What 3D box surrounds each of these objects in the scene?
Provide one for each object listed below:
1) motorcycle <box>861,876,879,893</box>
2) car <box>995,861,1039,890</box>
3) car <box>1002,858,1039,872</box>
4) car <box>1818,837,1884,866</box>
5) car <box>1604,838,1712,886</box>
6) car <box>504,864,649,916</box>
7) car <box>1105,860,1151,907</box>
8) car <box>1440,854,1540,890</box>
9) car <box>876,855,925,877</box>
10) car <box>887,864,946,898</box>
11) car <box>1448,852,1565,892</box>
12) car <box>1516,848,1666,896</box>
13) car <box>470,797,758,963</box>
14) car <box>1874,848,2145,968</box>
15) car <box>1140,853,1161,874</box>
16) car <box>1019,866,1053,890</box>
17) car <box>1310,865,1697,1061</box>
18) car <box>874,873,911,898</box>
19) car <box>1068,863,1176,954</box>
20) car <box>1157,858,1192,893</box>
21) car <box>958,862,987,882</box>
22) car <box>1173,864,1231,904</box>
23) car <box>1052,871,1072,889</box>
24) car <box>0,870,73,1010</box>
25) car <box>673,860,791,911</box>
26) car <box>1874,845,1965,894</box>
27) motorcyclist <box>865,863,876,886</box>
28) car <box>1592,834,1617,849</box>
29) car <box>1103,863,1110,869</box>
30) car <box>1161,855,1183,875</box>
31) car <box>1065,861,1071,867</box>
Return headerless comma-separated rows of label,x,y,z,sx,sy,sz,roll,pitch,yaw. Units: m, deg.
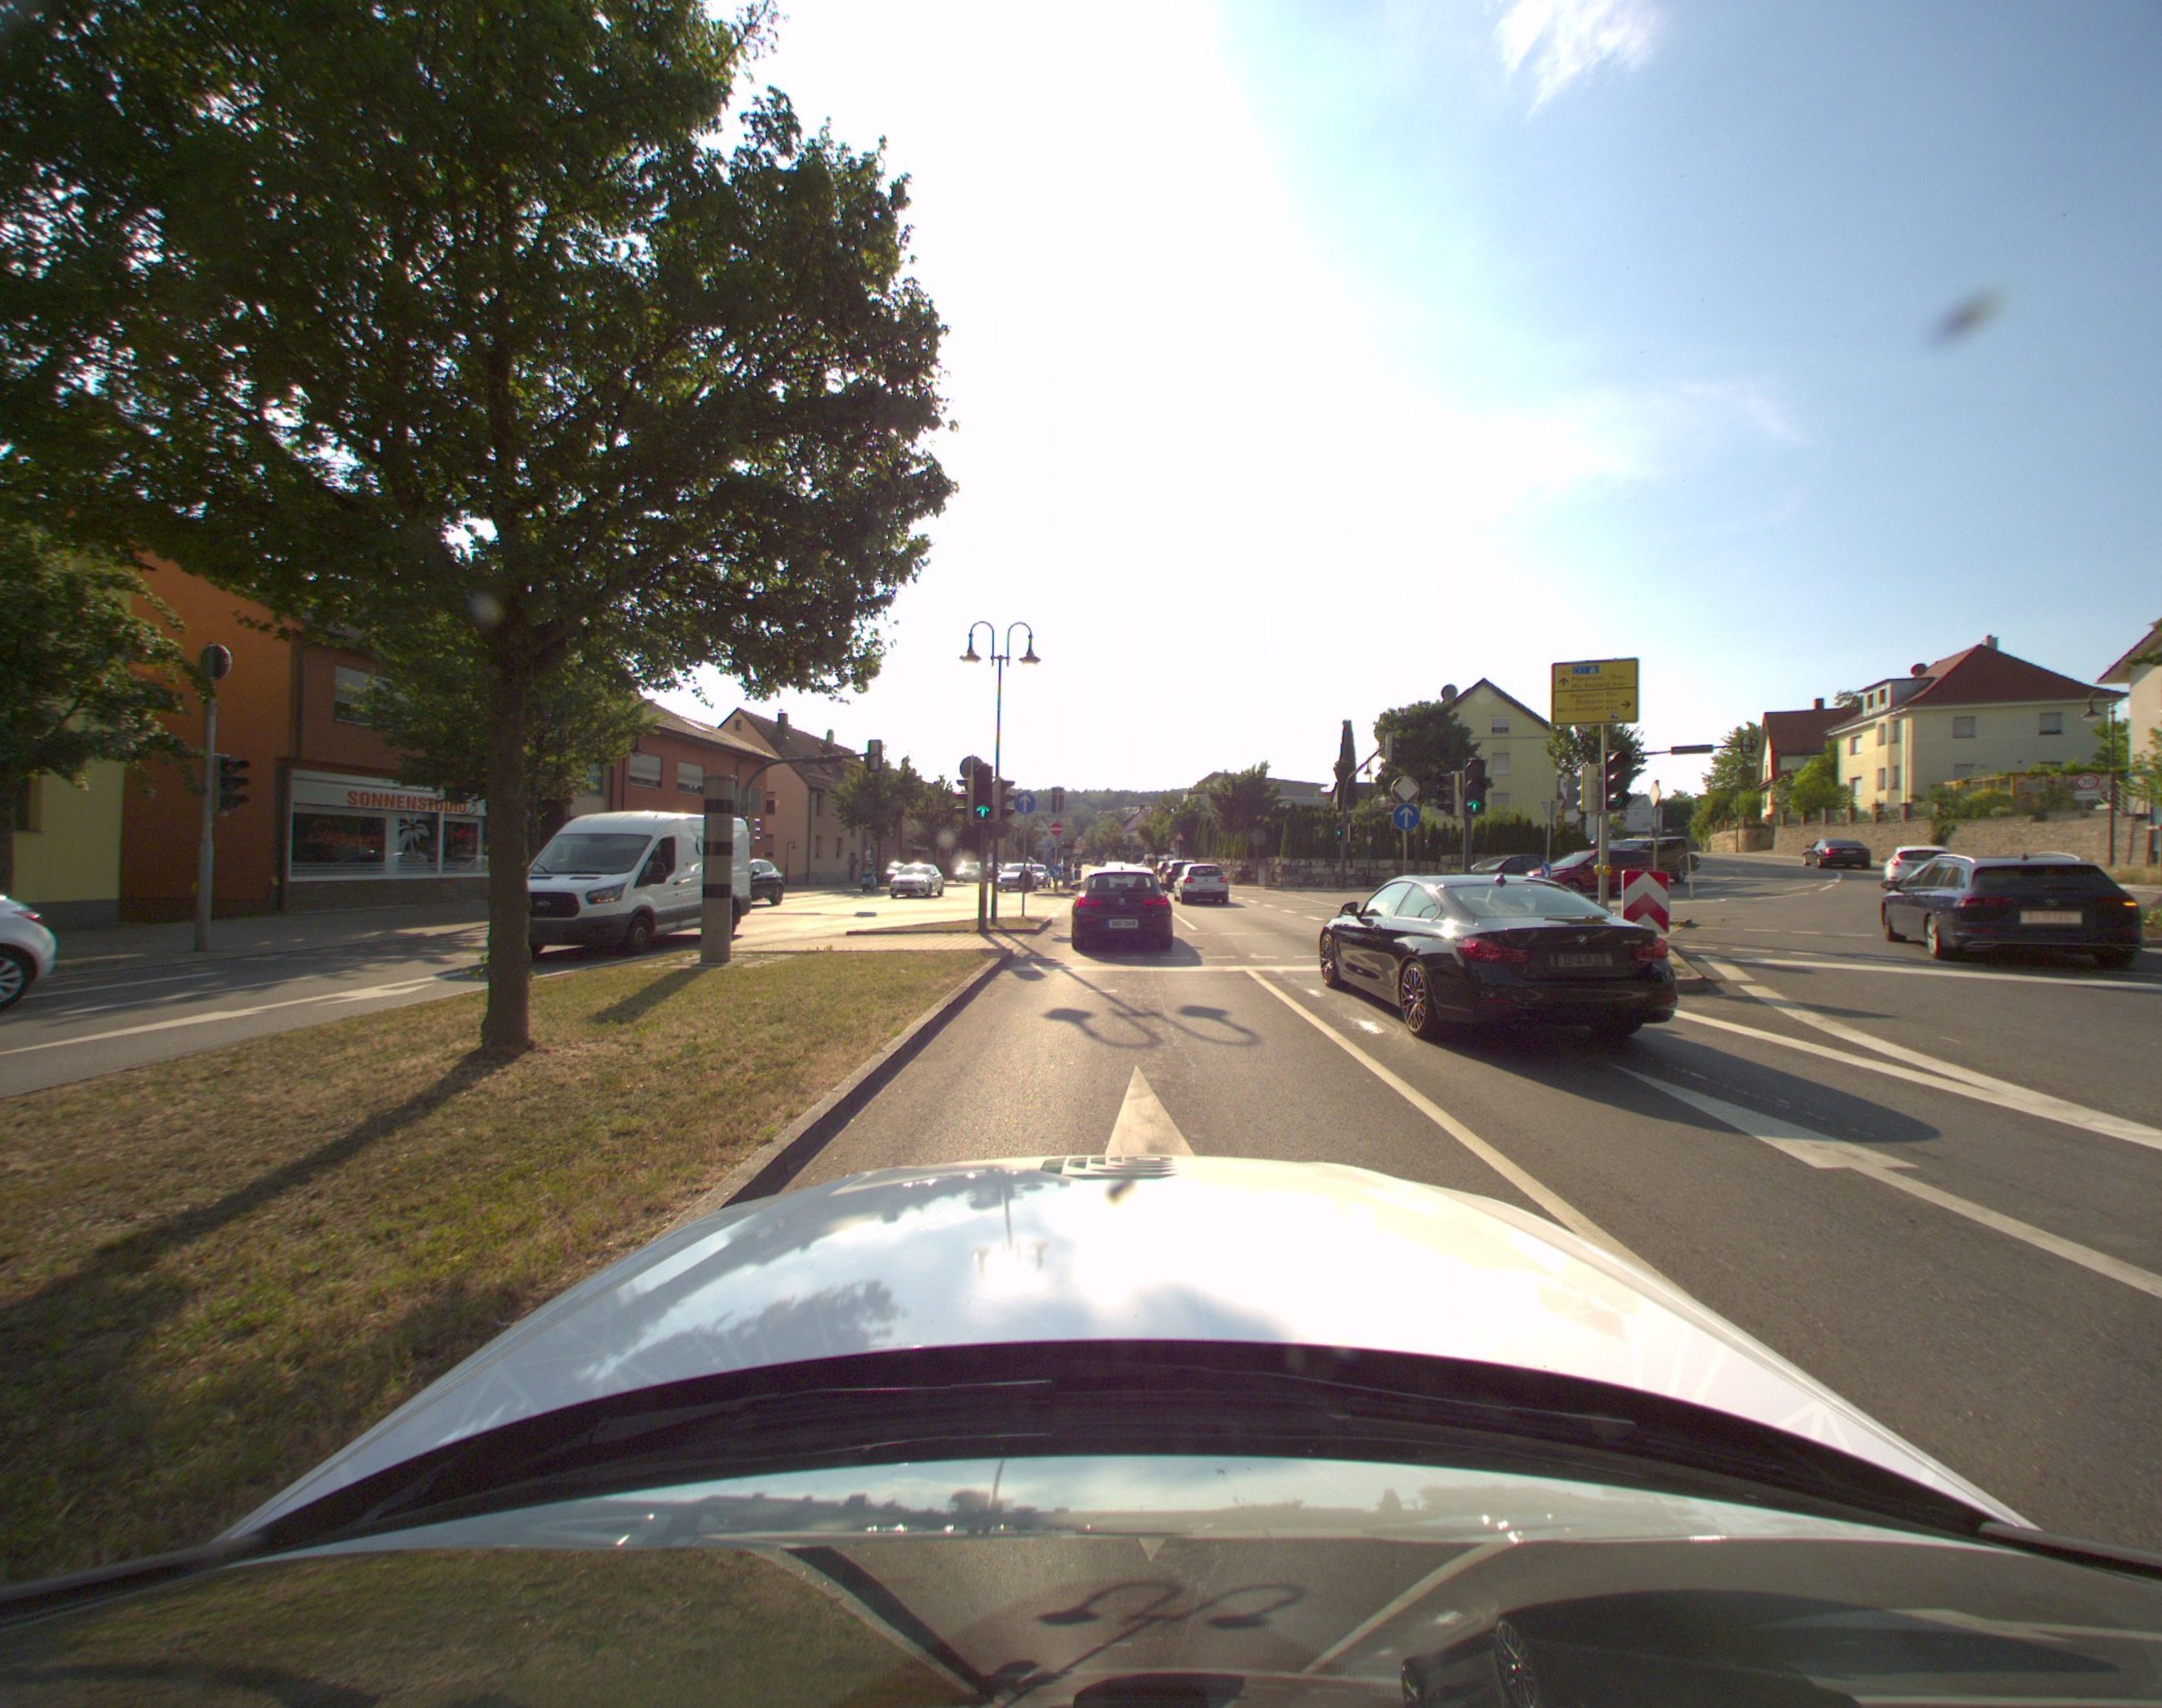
motorcycle,-11.050,1.585,42.668,0.410,0.860,1.765,0,0,3
car,-3.393,1.108,43.804,1.828,1.488,4.568,0,0,2
car,-10.501,1.880,141.303,6.138,2.445,2.249,1,0,0
car,37.467,-0.102,39.728,1.794,1.344,4.025,0,0,35
car,24.889,0.341,35.086,5.197,1.932,1.980,0,0,-32
car,-15.178,1.025,24.768,1.788,1.414,3.944,-1,0,3
car,1.769,1.014,29.893,1.584,1.600,3.898,0,0,4
car,18.065,0.800,36.053,3.589,1.450,1.625,-2,-2,-2
car,-16.236,1.095,73.345,3.804,1.881,1.781,2,-1,3
car,-7.282,1.177,36.400,1.751,1.411,4.001,0,0,1
car,16.661,0.702,32.010,3.765,1.542,1.602,-1,-1,8
car,17.904,0.606,28.697,4.231,1.626,1.859,0,0,-4
car,-8.067,0.396,14.921,2.078,2.475,5.478,0,0,0
car,13.088,0.641,11.803,1.614,1.410,4.305,-1,0,35
car,9.448,1.288,110.731,2.143,2.680,6.600,0,0,-1
car,-2.725,1.449,49.689,1.582,1.427,3.582,0,-1,4
car,3.678,0.822,8.073,1.693,1.369,4.263,-1,0,1
car,-12.741,2.131,55.247,1.506,1.510,3.886,2,0,1
car,0.728,0.923,15.233,1.765,1.456,3.517,0,0,1
car,4.806,1.066,42.198,1.596,1.767,3.413,0,0,3
car,-8.882,1.468,66.869,1.679,1.612,4.415,0,-1,2
car,4.478,1.081,30.471,1.747,1.414,3.423,0,0,1
car,-1.636,2.282,70.803,1.526,1.462,3.509,0,0,3
car,-11.853,0.867,6.720,1.684,1.414,4.217,0,0,3
car,-11.807,1.014,27.931,1.846,1.595,4.465,0,0,4
car,27.628,0.471,26.940,1.844,1.494,4.024,0,0,42
motorcyclist,-11.051,1.066,42.733,0.401,1.229,0.462,0,-1,2
car,49.110,-1.122,76.375,1.794,1.344,4.025,0,0,35
car,6.378,3.077,206.037,1.592,1.485,3.473,1,0,-1
car,12.348,1.448,111.222,2.105,2.722,6.439,0,0,-1
car,-3.480,2.710,219.467,1.592,1.485,3.473,1,0,-1
